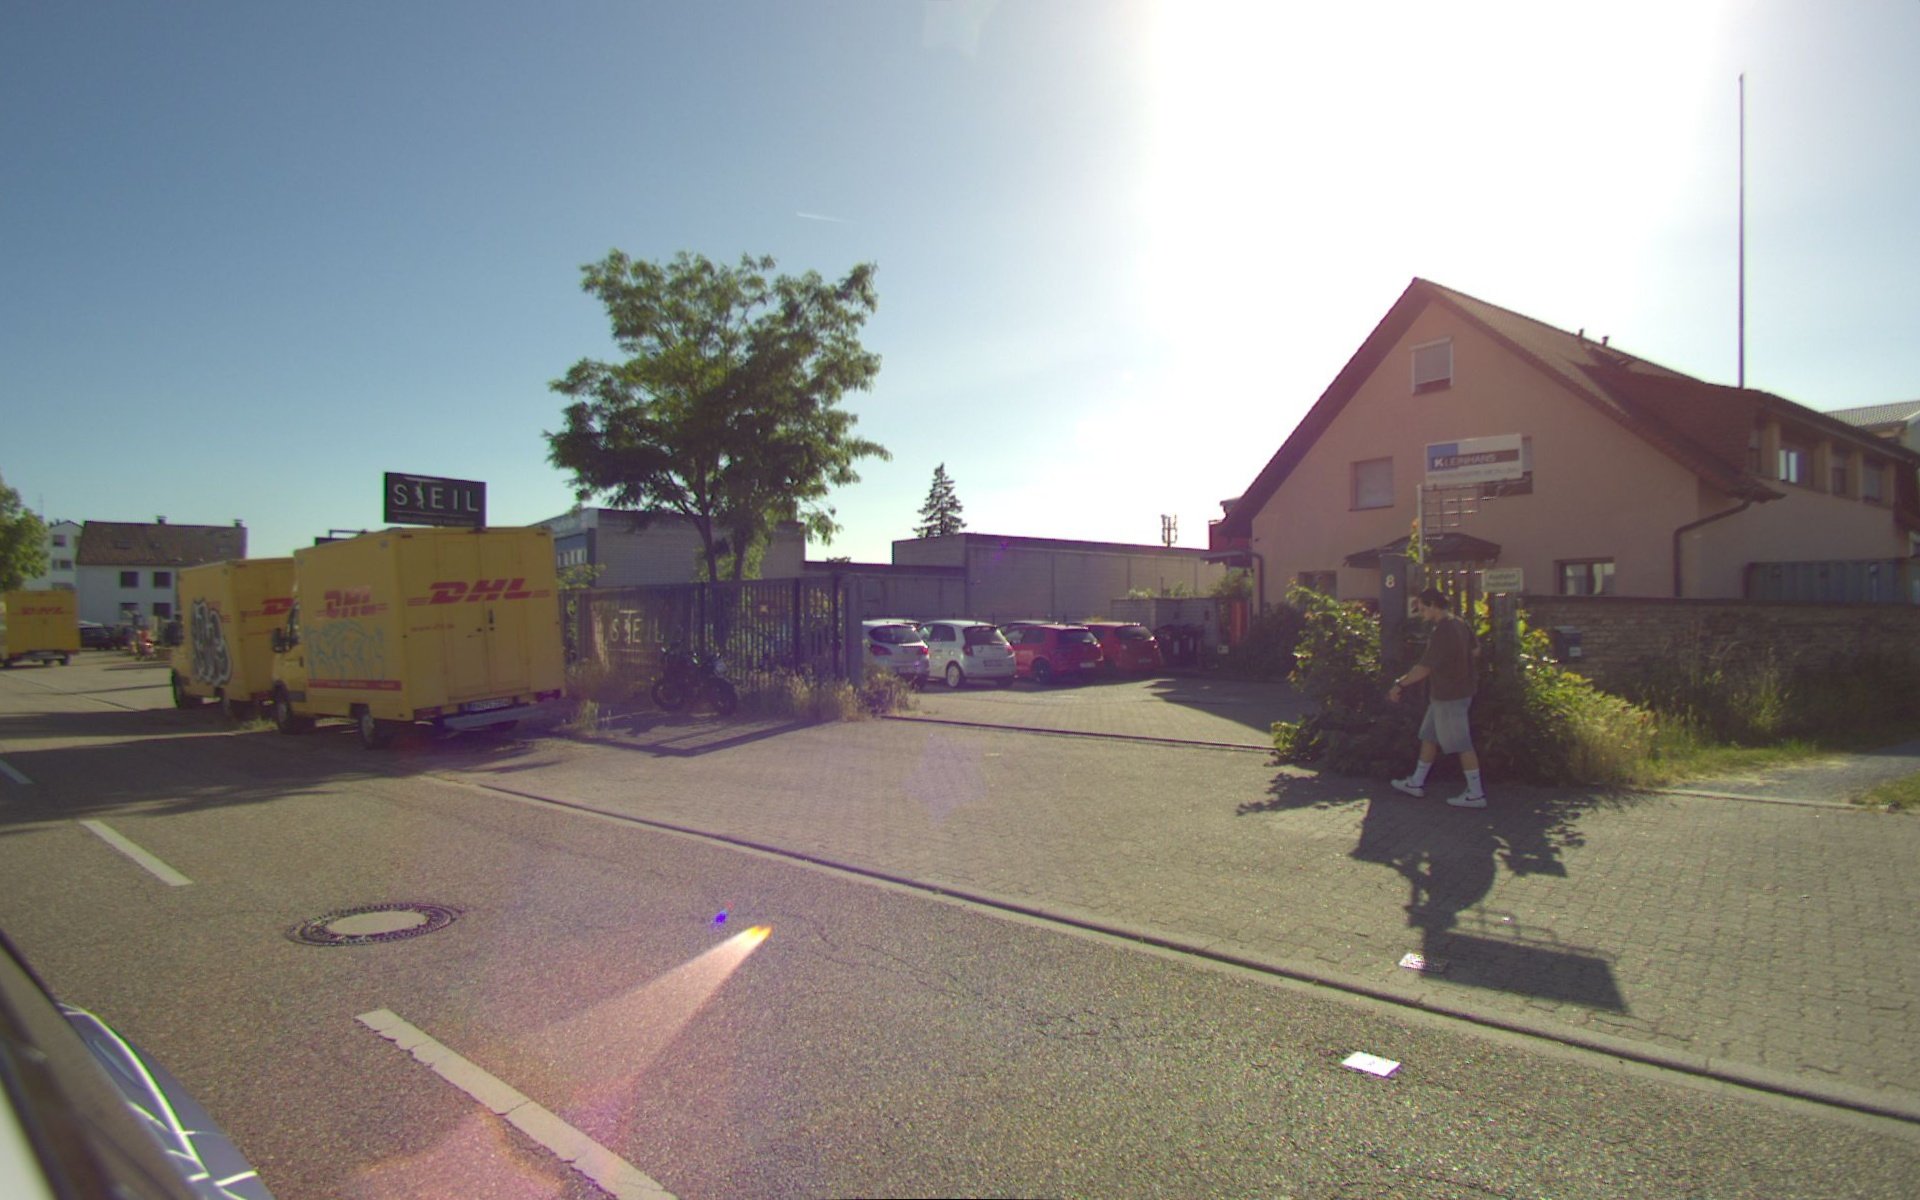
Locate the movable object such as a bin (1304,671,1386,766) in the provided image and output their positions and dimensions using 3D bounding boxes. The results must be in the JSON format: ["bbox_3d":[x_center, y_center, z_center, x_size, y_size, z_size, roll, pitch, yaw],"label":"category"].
[{"bbox_3d":[4.082,1.237,10.736,0.492,0.930,0.641,1,-2,-38],"label":"movable object such as a bin"}]

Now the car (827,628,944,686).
[{"bbox_3d":[-2.281,1.640,29.993,1.671,1.590,3.927,1,-2,-35],"label":"car"}]

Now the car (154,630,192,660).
[{"bbox_3d":[-48.108,2.747,61.838,1.753,1.762,4.172,1,-3,-38],"label":"car"}]

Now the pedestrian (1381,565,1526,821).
[{"bbox_3d":[3.916,0.693,8.013,0.918,1.852,0.989,-1,-2,31],"label":"pedestrian"}]

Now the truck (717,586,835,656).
[{"bbox_3d":[-8.207,0.954,45.336,4.642,2.959,2.417,1,-2,-38],"label":"truck"}]

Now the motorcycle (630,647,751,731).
[{"bbox_3d":[-4.210,1.339,15.714,2.175,1.190,0.747,-2,-2,41],"label":"motorcycle"}]

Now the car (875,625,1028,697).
[{"bbox_3d":[-0.294,1.417,24.492,1.671,1.590,4.054,1,-2,-35],"label":"car"}]

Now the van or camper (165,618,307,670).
[{"bbox_3d":[-29.577,1.764,41.418,4.489,2.029,2.253,1,-2,-43],"label":"van or camper"}]

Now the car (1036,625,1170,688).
[{"bbox_3d":[3.780,1.468,27.340,1.537,1.547,3.885,0,-2,-29],"label":"car"}]

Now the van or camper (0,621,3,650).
[{"bbox_3d":[-82.346,2.968,83.420,4.829,2.338,2.248,0,-1,-38],"label":"van or camper"}]

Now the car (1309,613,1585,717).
[{"bbox_3d":[8.512,1.111,17.844,3.933,1.629,2.005,-1,-3,-14],"label":"car"}]

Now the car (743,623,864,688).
[{"bbox_3d":[-4.424,1.491,28.115,1.671,1.674,4.054,1,-2,-35],"label":"car"}]

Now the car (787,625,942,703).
[{"bbox_3d":[-2.246,1.369,22.765,1.671,1.590,4.054,1,-2,-35],"label":"car"}]

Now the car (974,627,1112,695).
[{"bbox_3d":[2.021,1.484,25.741,1.628,1.547,3.885,0,-2,-29],"label":"car"}]

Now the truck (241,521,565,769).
[{"bbox_3d":[-8.421,0.583,14.897,6.437,2.924,2.169,-2,0,42],"label":"truck"}]

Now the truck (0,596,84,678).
[{"bbox_3d":[-37.183,1.424,40.242,7.239,3.005,2.379,-1,0,40],"label":"truck"}]

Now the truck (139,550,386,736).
[{"bbox_3d":[-13.495,0.741,19.358,6.370,3.005,2.378,-2,0,41],"label":"truck"}]

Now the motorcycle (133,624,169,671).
[{"bbox_3d":[-34.339,1.998,42.947,3.041,1.887,0.772,-3,0,44],"label":"motorcycle"}]
